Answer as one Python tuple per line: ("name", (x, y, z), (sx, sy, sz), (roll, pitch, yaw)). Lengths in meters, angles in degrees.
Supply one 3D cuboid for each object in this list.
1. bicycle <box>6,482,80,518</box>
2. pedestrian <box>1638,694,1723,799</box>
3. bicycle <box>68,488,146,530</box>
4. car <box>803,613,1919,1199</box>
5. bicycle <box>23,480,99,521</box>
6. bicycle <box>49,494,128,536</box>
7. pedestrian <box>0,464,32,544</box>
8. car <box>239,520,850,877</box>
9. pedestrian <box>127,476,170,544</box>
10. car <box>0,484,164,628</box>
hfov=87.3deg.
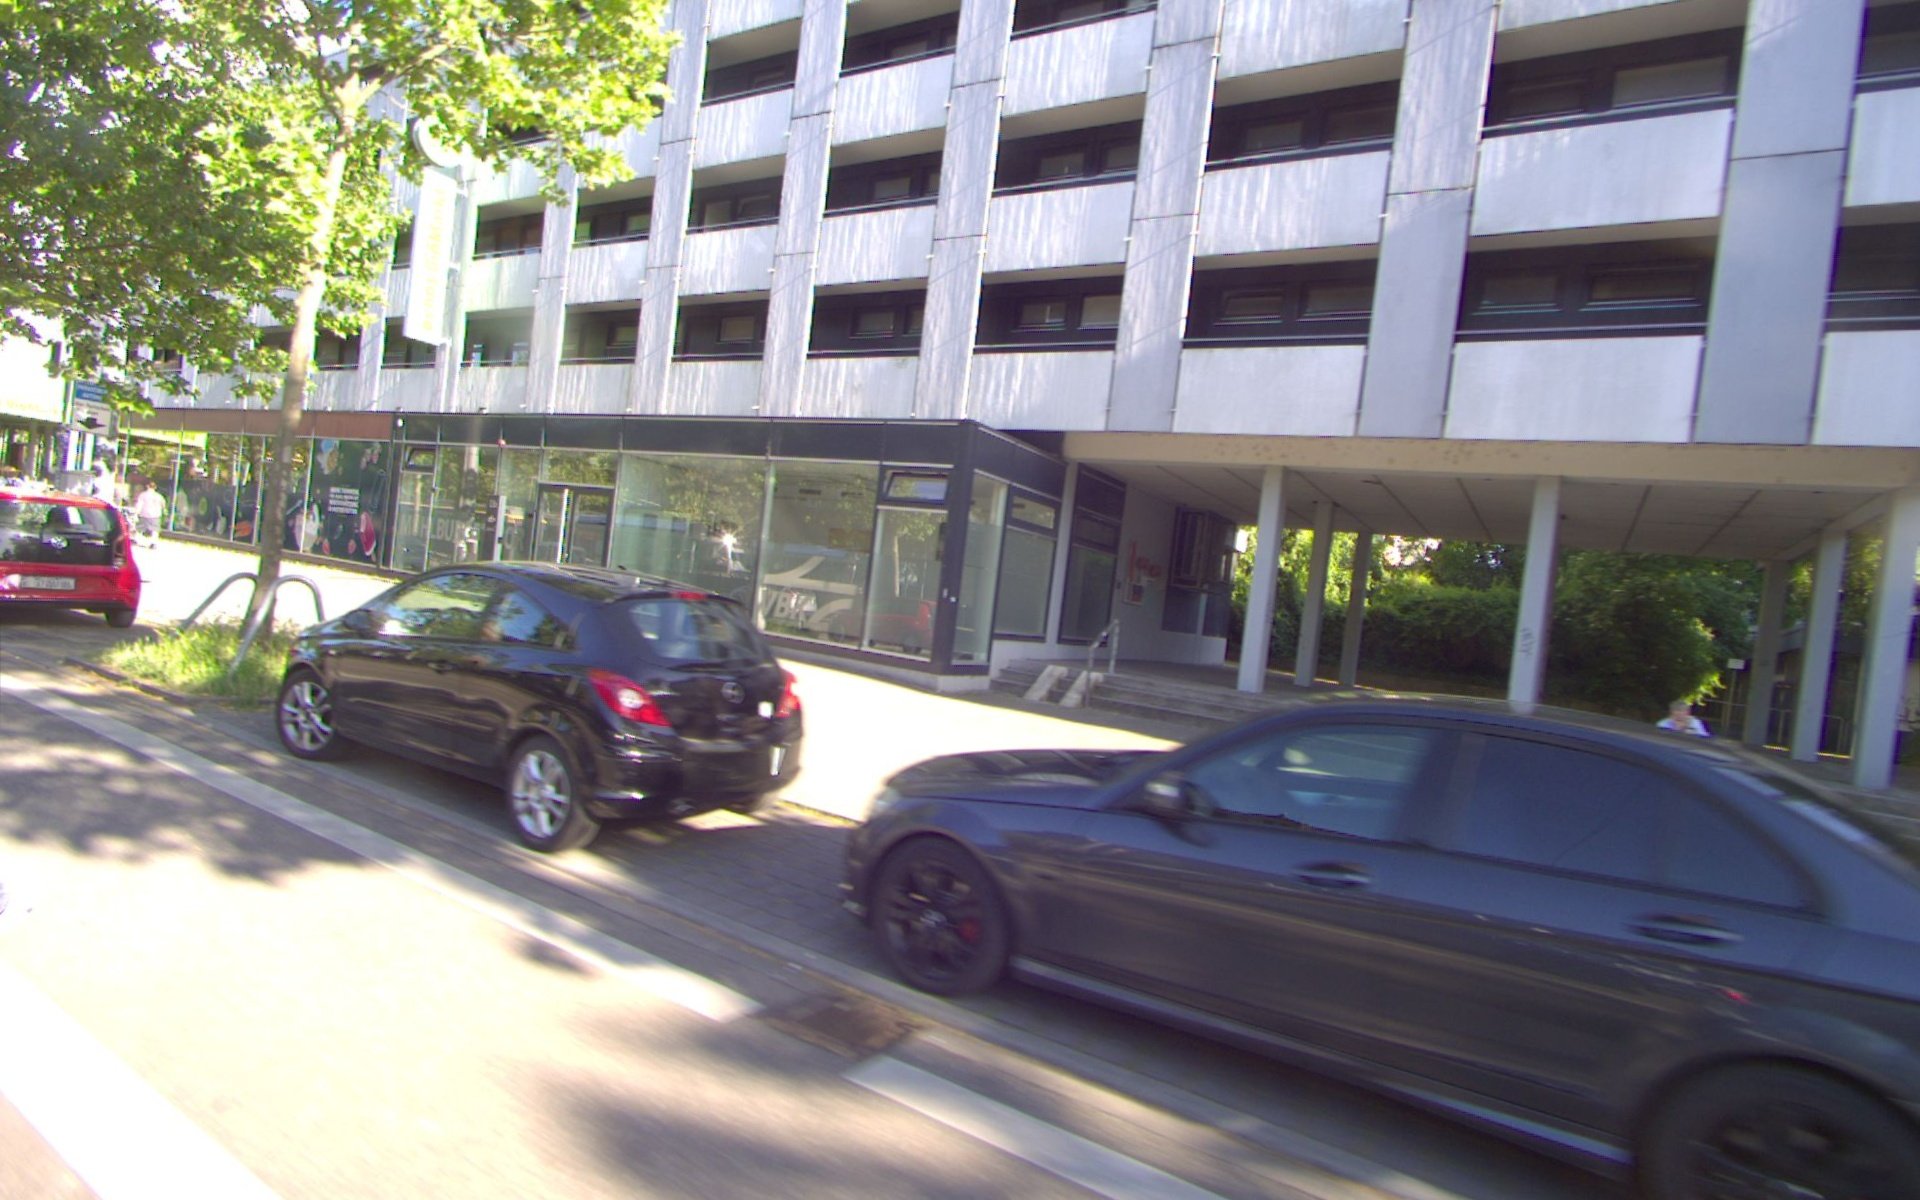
("bicycle", (-29.458, -3.219, 32.337), (1.634, 0.929, 0.580), (5, 6, -32))
("pedestrian", (8.718, 1.755, 12.199), (0.673, 1.124, 0.559), (8, 2, 32))
("bicycle", (-25.665, -2.744, 30.313), (1.686, 1.070, 0.580), (4, 4, -32))
("car", (1.634, 1.040, 3.964), (4.205, 1.399, 1.778), (7, 0, 32))
("bicycle", (-28.455, -3.144, 31.875), (1.686, 1.070, 0.580), (5, 6, -32))
("bicycle", (-26.540, -2.588, 30.660), (1.686, 1.070, 0.580), (5, 4, -32))
("pedestrian", (-20.319, -2.062, 21.347), (0.854, 1.634, 0.697), (8, 4, 34))
("car", (-2.797, 0.429, 6.511), (3.865, 1.461, 1.626), (7, 2, 32))
("pedestrian", (-21.380, -2.369, 26.506), (0.867, 1.701, 0.557), (7, 4, 31))
("car", (-11.129, -0.601, 11.741), (3.628, 1.458, 1.673), (7, 3, 31))
